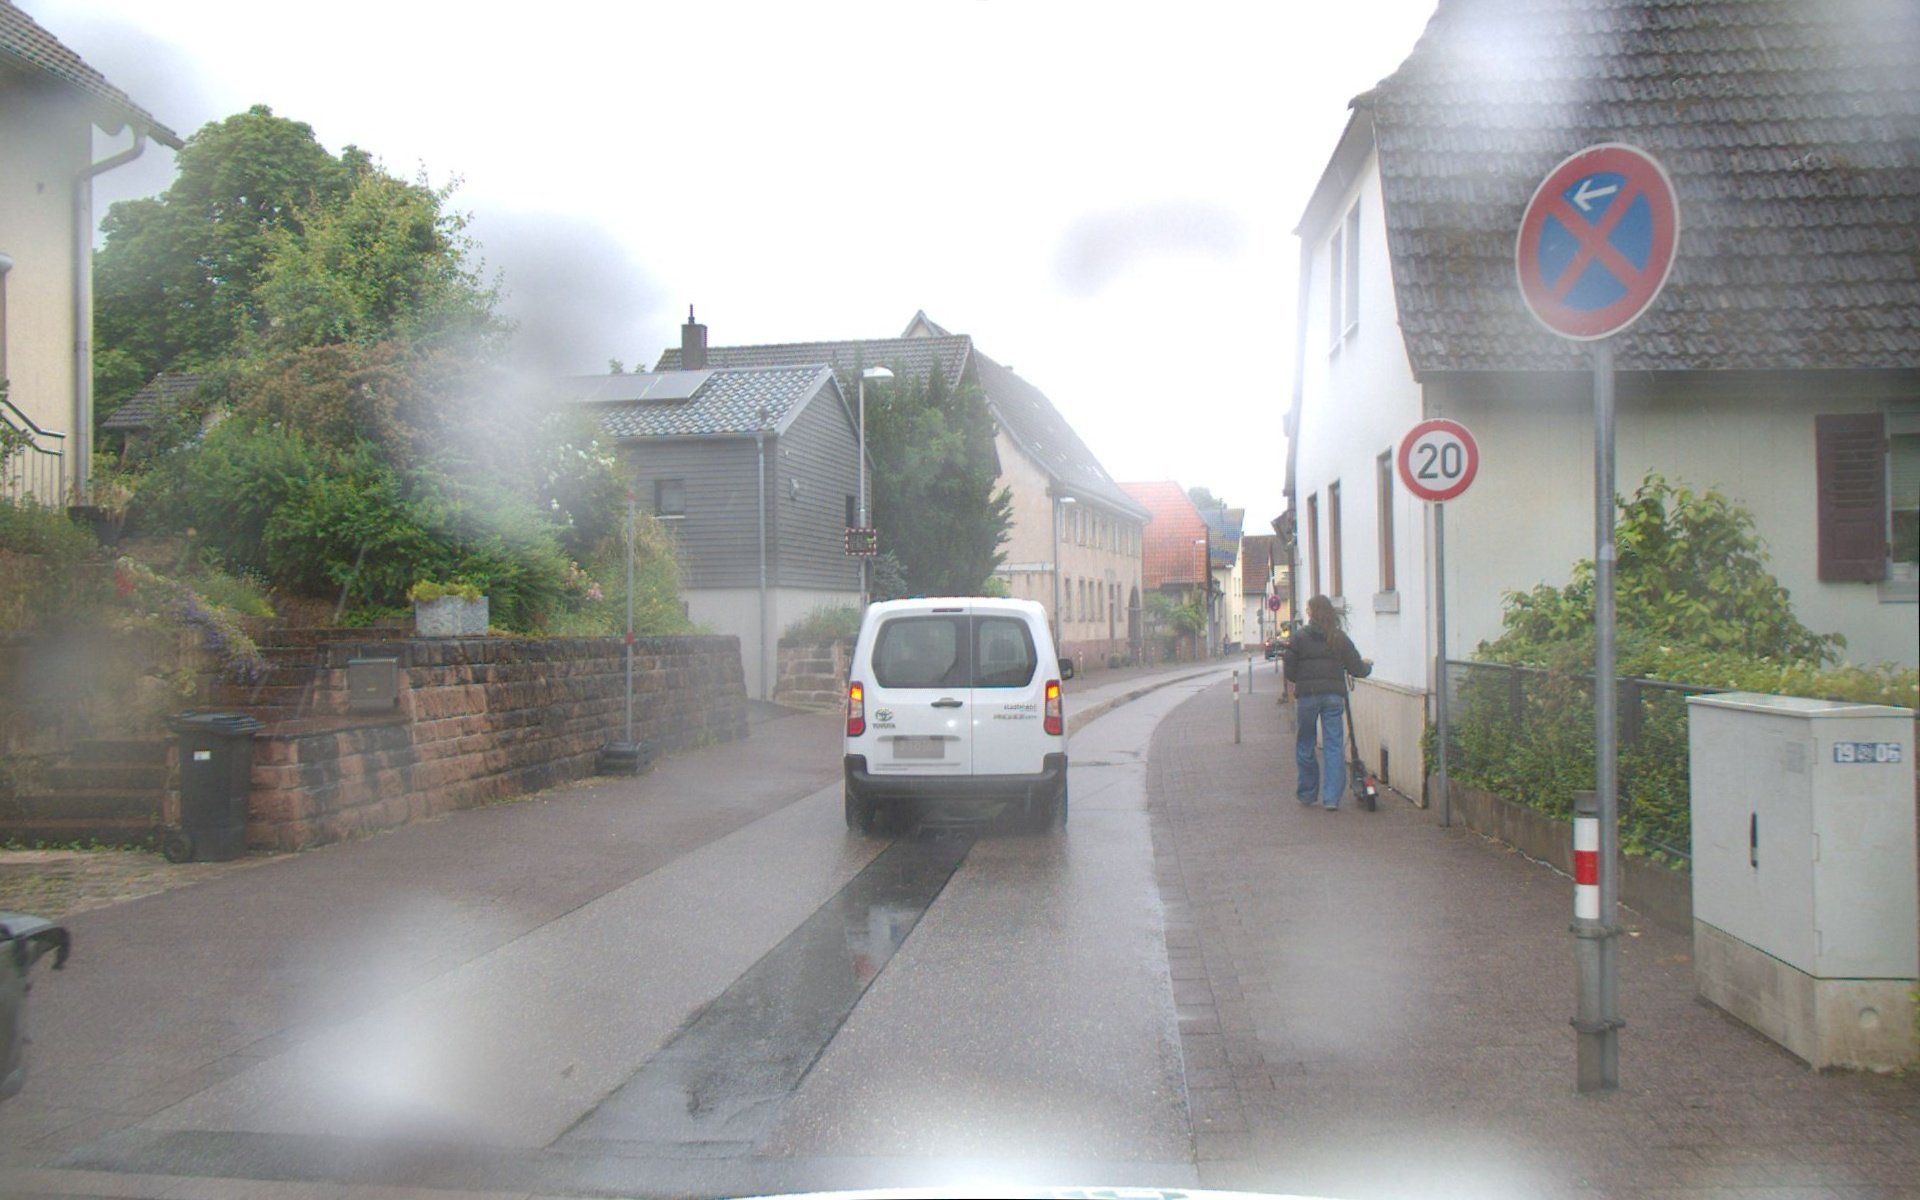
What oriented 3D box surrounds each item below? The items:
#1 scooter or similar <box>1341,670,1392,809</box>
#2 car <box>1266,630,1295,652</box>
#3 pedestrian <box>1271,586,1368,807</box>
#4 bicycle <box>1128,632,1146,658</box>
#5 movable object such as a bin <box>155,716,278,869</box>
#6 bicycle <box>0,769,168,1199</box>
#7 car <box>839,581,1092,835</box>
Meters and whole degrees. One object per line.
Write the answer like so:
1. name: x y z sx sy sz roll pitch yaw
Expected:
1. scooter or similar: 3.341 1.124 13.626 0.240 1.046 1.101 1 0 6
2. car: 20.834 2.642 107.479 1.528 1.396 3.587 0 -1 16
3. pedestrian: 2.965 0.774 13.703 0.679 1.763 0.821 1 0 6
4. bicycle: 8.096 2.060 75.613 0.473 1.201 1.836 0 -2 17
5. movable object such as a bin: -4.860 1.246 10.834 0.526 0.946 0.545 0 -2 4
6. bicycle: -2.761 1.004 3.661 0.666 1.069 2.340 0 -1 6
7. car: 0.199 0.850 14.323 1.757 1.851 4.104 1 -2 6
